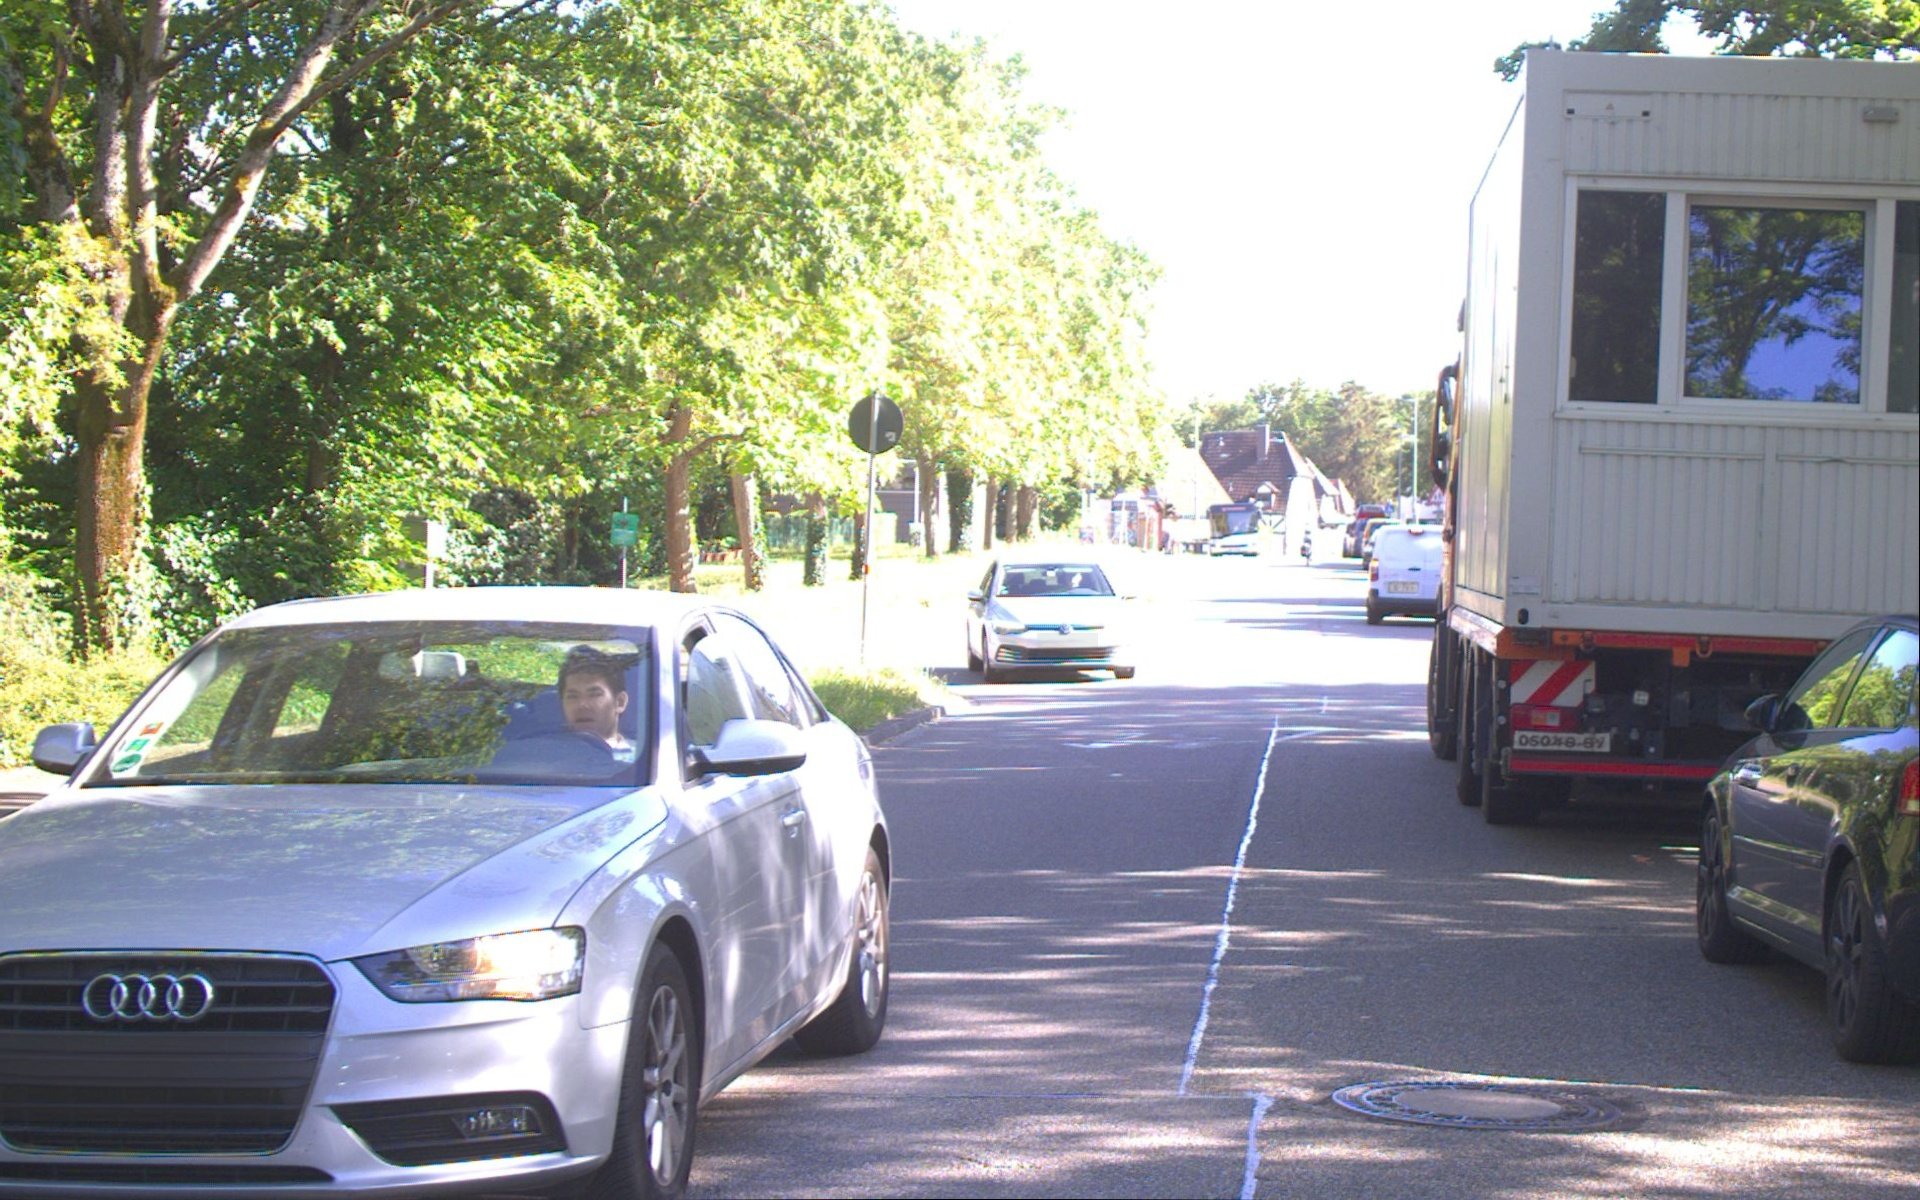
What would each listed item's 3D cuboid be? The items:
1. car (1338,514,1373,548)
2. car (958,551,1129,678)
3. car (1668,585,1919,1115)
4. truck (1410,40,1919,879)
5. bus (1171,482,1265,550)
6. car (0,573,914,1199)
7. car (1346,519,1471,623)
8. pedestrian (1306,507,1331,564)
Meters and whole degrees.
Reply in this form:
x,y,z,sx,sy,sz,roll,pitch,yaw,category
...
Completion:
x,y,z,sx,sy,sz,roll,pitch,yaw,category
21.253,-3.689,184.764,1.781,1.802,3.999,0,1,5,car
0.948,0.142,41.193,1.805,1.415,3.960,-1,1,-2,car
3.540,0.720,11.593,1.640,1.415,4.000,2,1,3,car
4.512,-0.781,21.769,2.773,3.982,10.346,2,1,5,truck
13.112,-4.240,174.059,4.066,3.337,9.797,0,1,8,bus
-1.297,0.672,8.802,1.787,1.412,4.103,0,1,7,car
8.287,-0.557,63.794,1.947,1.836,4.000,1,1,3,car
13.346,-2.398,127.943,0.753,2.106,0.799,3,1,9,pedestrian
